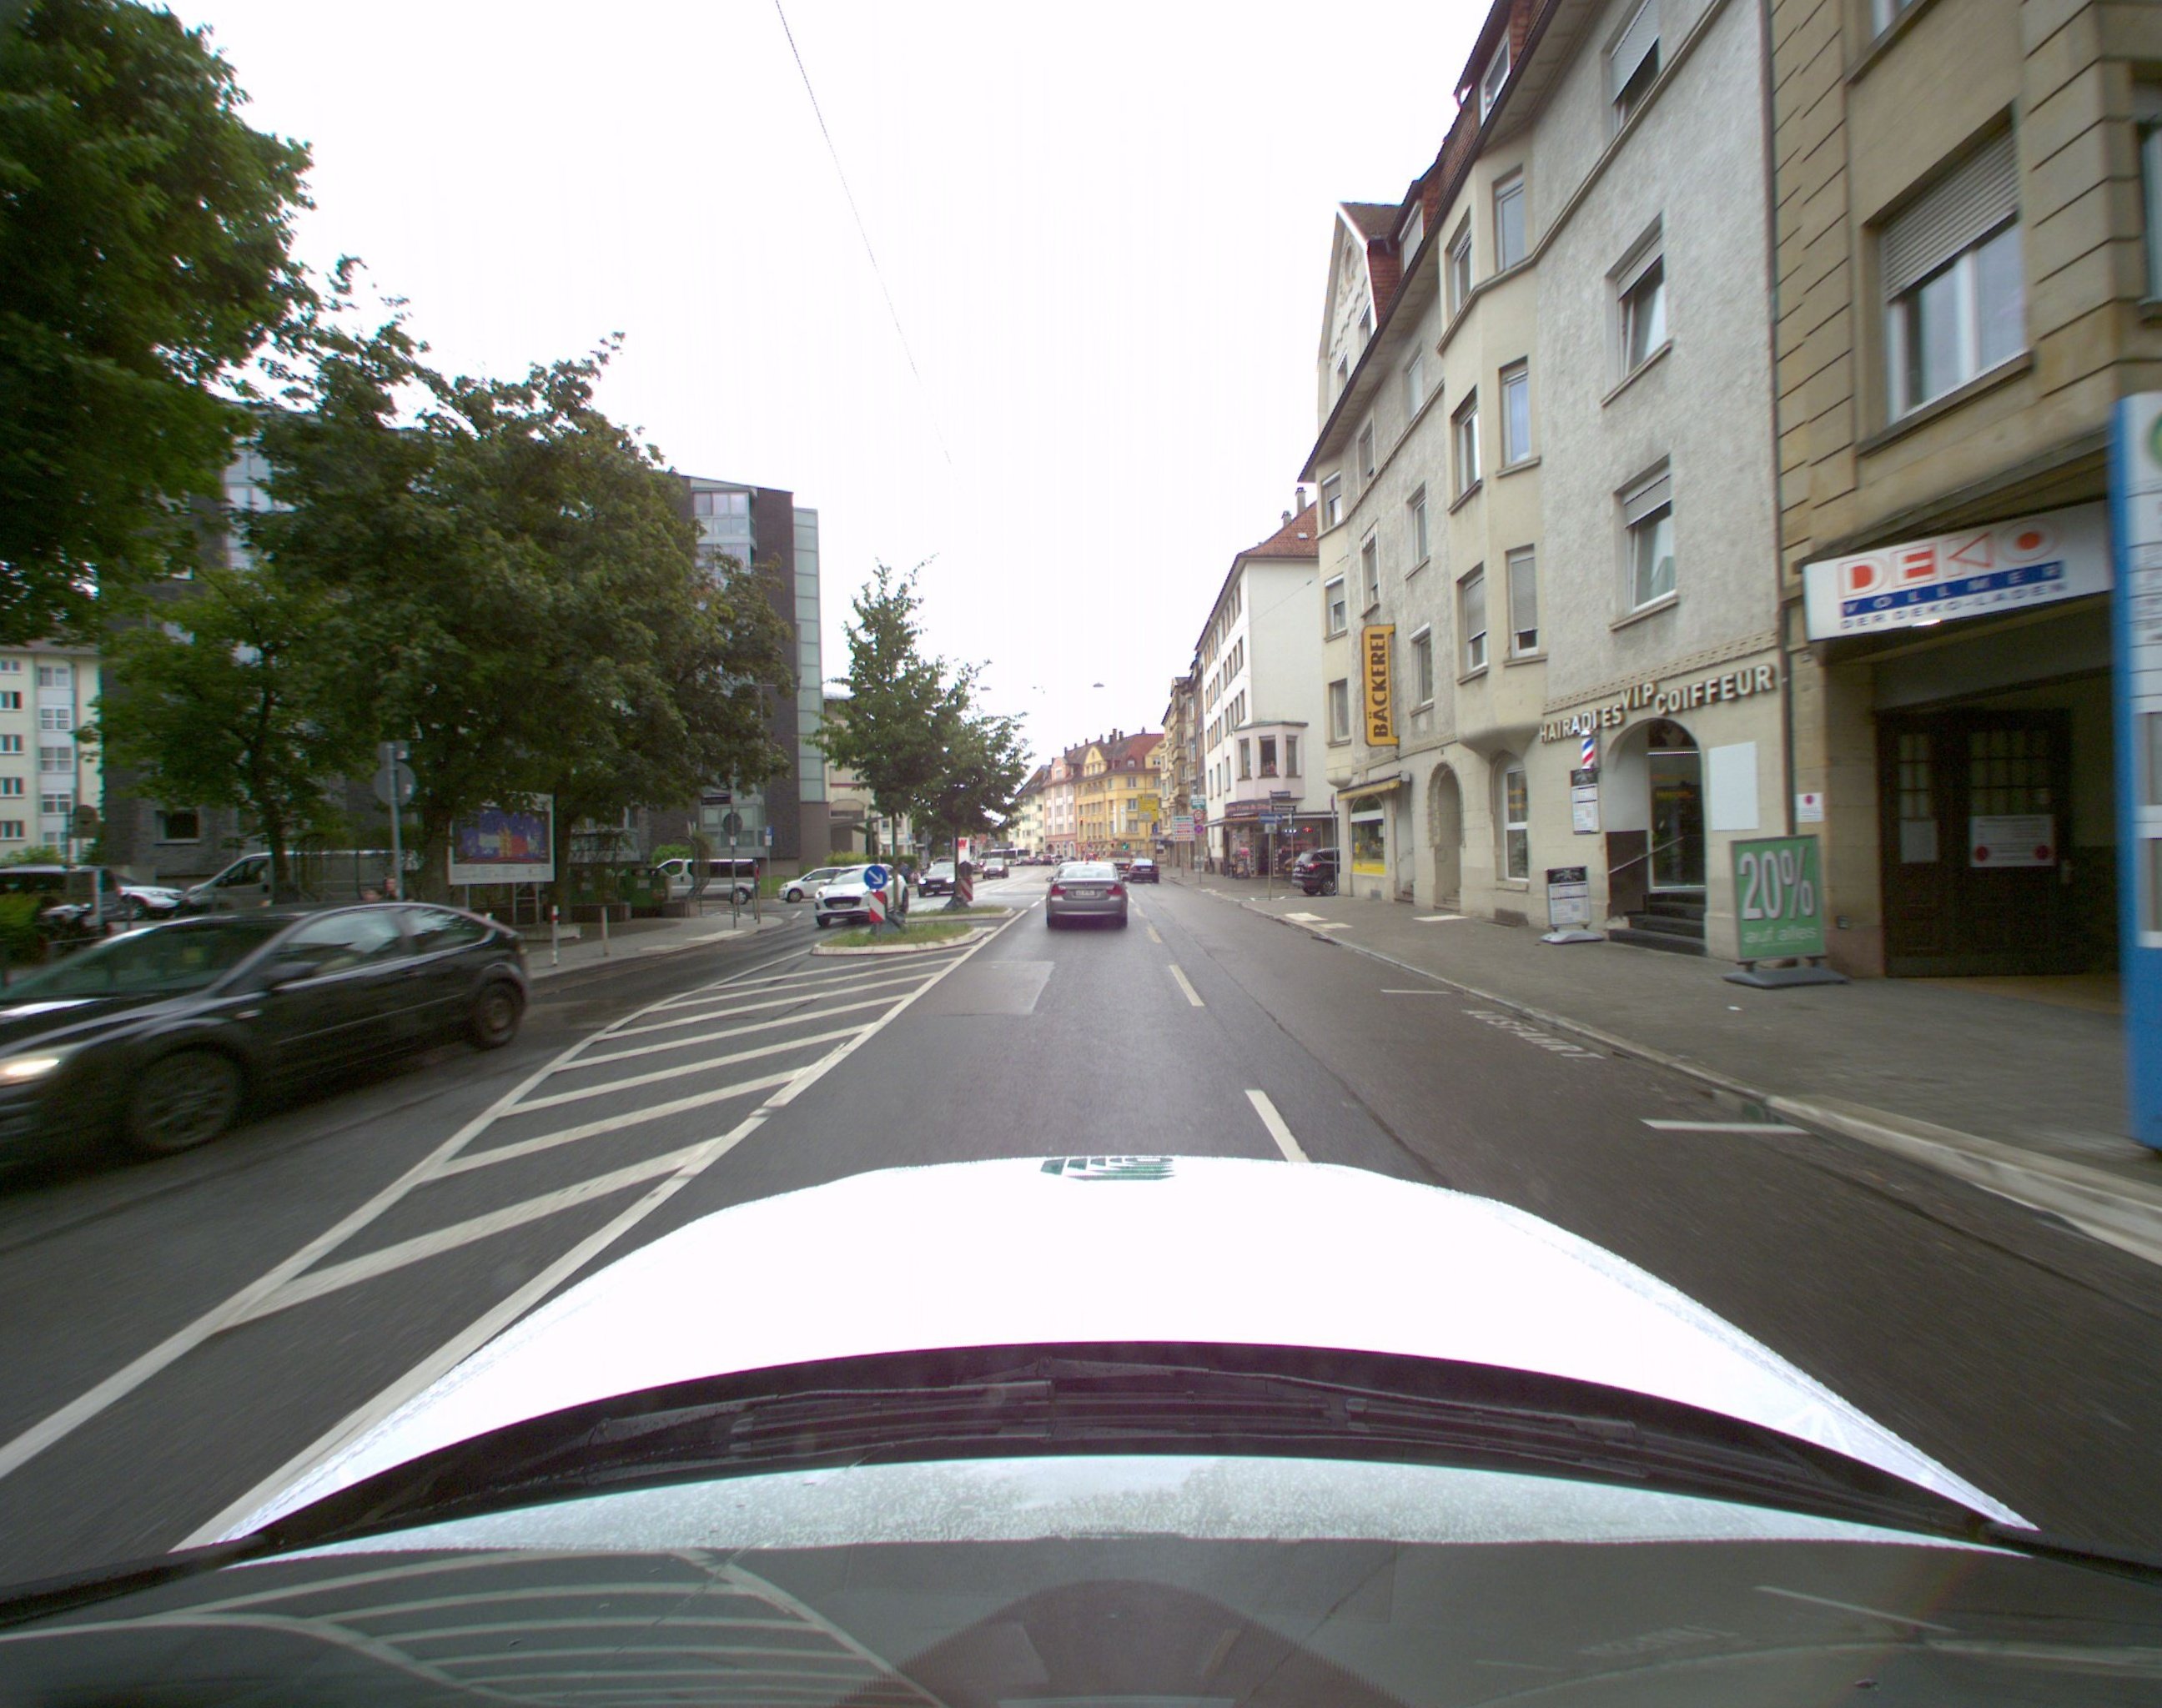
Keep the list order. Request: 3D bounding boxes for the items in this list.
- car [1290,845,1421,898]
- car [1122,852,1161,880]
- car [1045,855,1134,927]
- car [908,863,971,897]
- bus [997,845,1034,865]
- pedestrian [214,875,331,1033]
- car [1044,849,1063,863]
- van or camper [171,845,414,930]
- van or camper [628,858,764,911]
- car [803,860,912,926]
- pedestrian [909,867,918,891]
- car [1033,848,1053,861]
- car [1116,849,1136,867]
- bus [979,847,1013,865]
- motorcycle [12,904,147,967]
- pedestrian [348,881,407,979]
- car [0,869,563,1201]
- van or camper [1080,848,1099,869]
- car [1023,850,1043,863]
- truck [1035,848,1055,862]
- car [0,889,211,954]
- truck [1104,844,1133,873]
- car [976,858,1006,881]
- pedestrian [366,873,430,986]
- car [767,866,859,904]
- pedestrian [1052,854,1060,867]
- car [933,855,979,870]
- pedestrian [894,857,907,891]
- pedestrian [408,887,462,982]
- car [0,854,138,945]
[{"bbox_3d":[9.730,0.603,29.112,4.116,1.772,1.877,-1,0,6],"label":"car"},{"bbox_3d":[3.490,0.689,47.357,1.795,1.563,3.996,-1,-1,-2],"label":"car"},{"bbox_3d":[0.182,0.776,18.733,1.793,1.464,4.370,0,-1,0],"label":"car"},{"bbox_3d":[-6.466,1.160,37.669,2.006,1.425,4.501,0,0,1],"label":"car"},{"bbox_3d":[-11.060,0.210,136.236,2.924,3.105,9.063,-2,0,-26],"label":"bus"},{"bbox_3d":[-10.063,1.199,10.175,0.724,1.826,0.848,-1,0,-22],"label":"pedestrian"},{"bbox_3d":[-4.592,0.349,136.538,1.770,2.180,3.968,0,0,-24],"label":"car"},{"bbox_3d":[-22.807,0.904,23.866,4.629,2.266,2.192,1,0,-28],"label":"van or camper"},{"bbox_3d":[-15.976,1.219,33.897,4.980,2.013,1.982,-1,0,-29],"label":"van or camper"},{"bbox_3d":[-6.104,1.000,22.725,1.814,1.569,4.088,-3,0,0],"label":"car"},{"bbox_3d":[-8.781,1.307,42.691,0.408,1.198,0.310,-2,0,-6],"label":"pedestrian"},{"bbox_3d":[-5.767,0.089,122.686,2.000,2.013,3.973,-2,0,-20],"label":"car"},{"bbox_3d":[5.066,0.442,91.838,1.987,2.013,4.000,-1,0,0],"label":"car"},{"bbox_3d":[-15.119,0.370,144.227,2.925,3.105,8.792,-2,0,-27],"label":"bus"},{"bbox_3d":[-18.289,1.464,14.873,2.037,0.987,0.800,1,0,16],"label":"motorcycle"},{"bbox_3d":[-11.010,1.173,12.757,0.458,1.473,0.530,-1,0,-2],"label":"pedestrian"},{"bbox_3d":[-6.282,1.012,6.141,1.949,1.556,4.242,-5,0,-1],"label":"car"},{"bbox_3d":[0.914,0.462,87.522,1.850,2.146,4.140,0,0,-2],"label":"van or camper"},{"bbox_3d":[-7.618,0.427,128.388,2.000,2.013,3.973,-2,0,-20],"label":"car"},{"bbox_3d":[-6.324,0.226,141.543,2.035,2.389,4.203,0,1,-24],"label":"truck"},{"bbox_3d":[-31.278,2.121,26.188,4.006,1.728,1.984,-2,0,-25],"label":"car"},{"bbox_3d":[3.030,0.386,66.964,2.217,2.249,5.063,-1,0,1],"label":"truck"},{"bbox_3d":[-7.386,1.220,66.676,1.950,1.659,4.041,-4,0,-12],"label":"car"},{"bbox_3d":[-10.499,1.137,12.539,0.496,1.673,0.552,-1,0,-3],"label":"pedestrian"},{"bbox_3d":[-11.898,1.338,36.179,3.601,1.569,1.723,-1,0,-32],"label":"car"},{"bbox_3d":[-3.055,0.823,99.490,0.763,1.529,0.505,1,-1,-20],"label":"pedestrian"},{"bbox_3d":[-12.783,0.878,83.494,4.437,1.526,1.883,0,0,-4],"label":"car"},{"bbox_3d":[-9.394,1.034,42.402,0.573,1.762,0.580,-2,0,-5],"label":"pedestrian"},{"bbox_3d":[-9.988,1.238,12.599,0.432,1.410,0.481,-1,0,-3],"label":"pedestrian"},{"bbox_3d":[-28.207,1.200,21.360,4.009,2.255,1.982,-2,0,-27],"label":"car"}]
